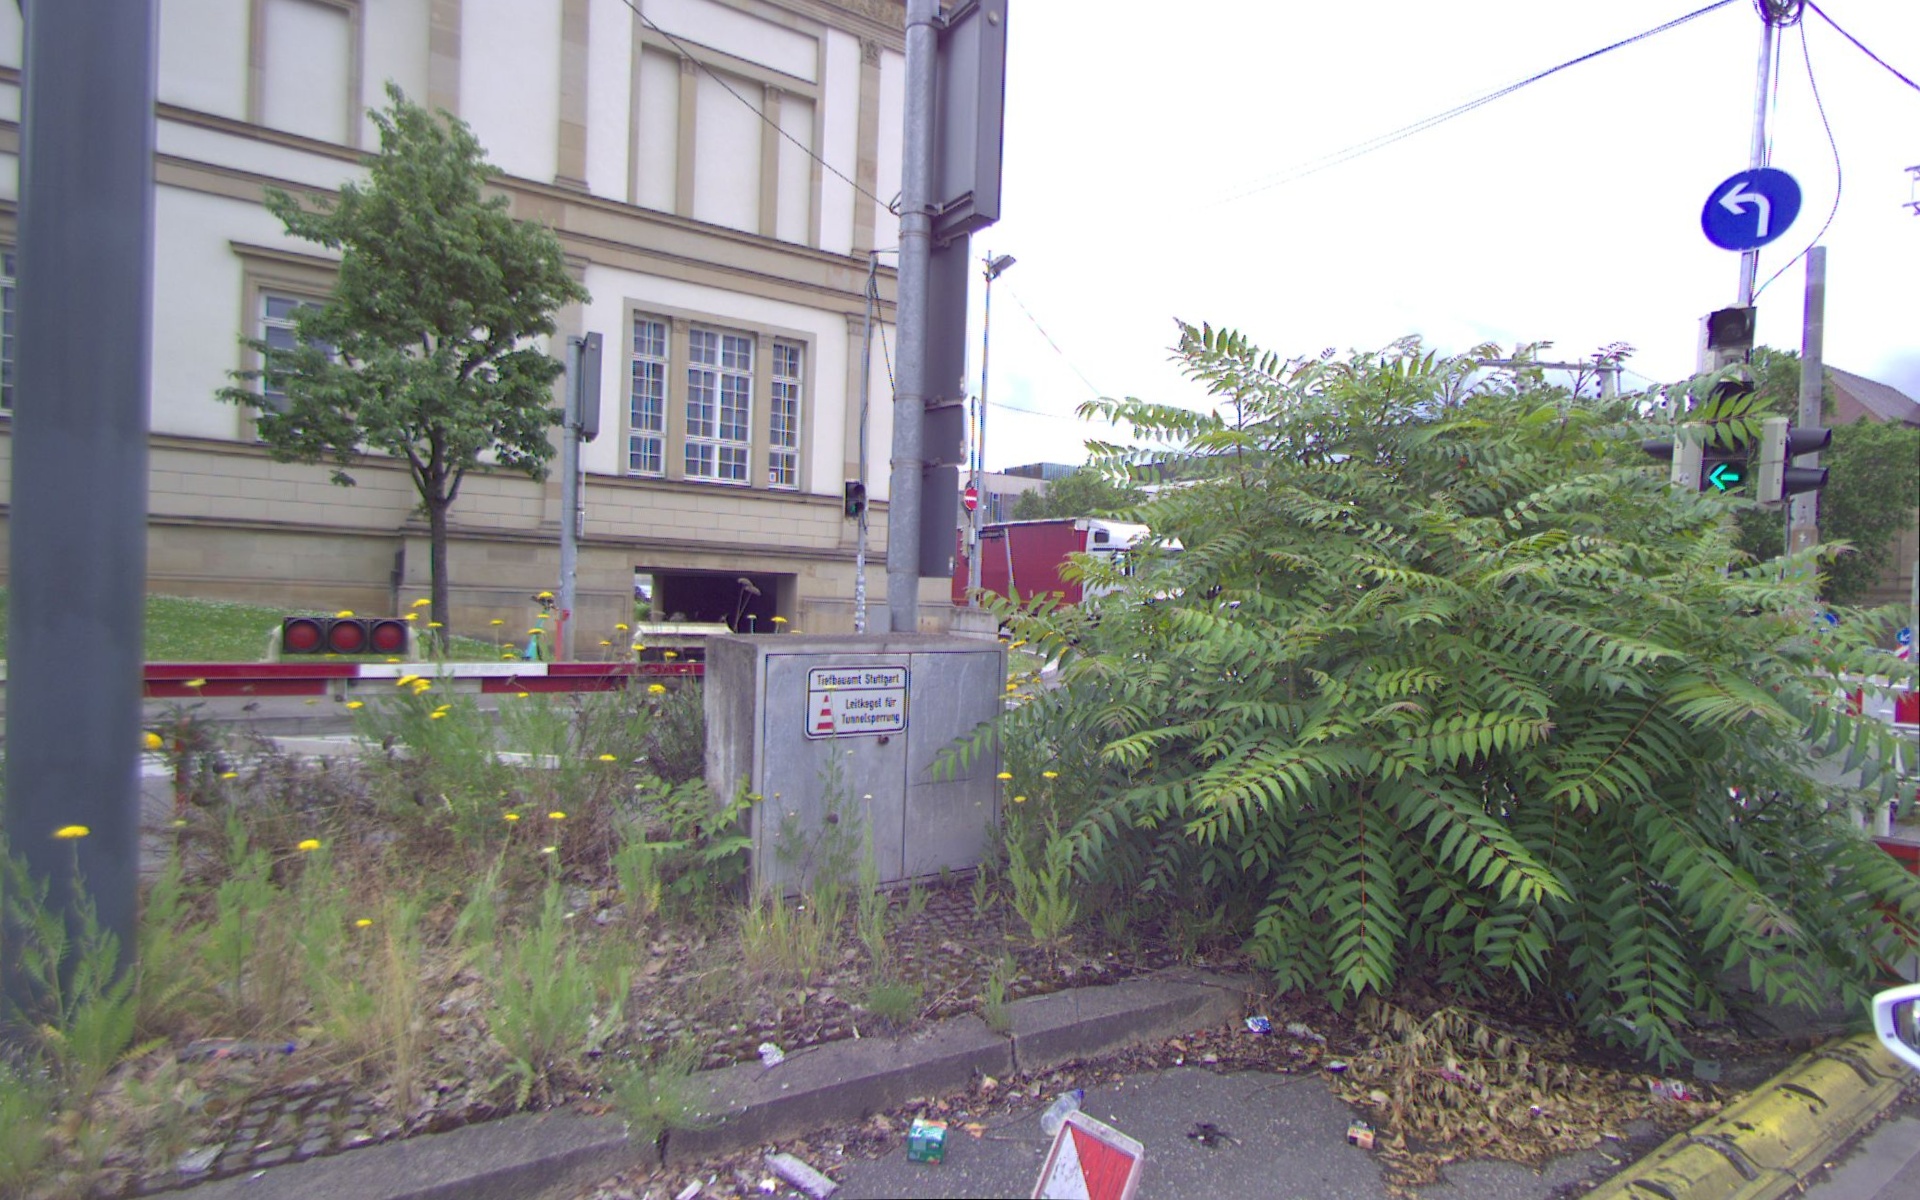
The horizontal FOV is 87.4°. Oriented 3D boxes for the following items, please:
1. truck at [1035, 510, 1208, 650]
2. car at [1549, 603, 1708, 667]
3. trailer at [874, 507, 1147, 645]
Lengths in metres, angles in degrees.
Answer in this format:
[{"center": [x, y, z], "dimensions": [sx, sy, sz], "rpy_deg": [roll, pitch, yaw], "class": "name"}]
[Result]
[{"center": [5.092, -0.576, 32.375], "dimensions": [2.915, 4.117, 4.846], "rpy_deg": [2, 0, -33], "class": "truck"}, {"center": [35.716, 1.821, 53.863], "dimensions": [2.355, 3.092, 6.674], "rpy_deg": [2, -1, -42], "class": "car"}, {"center": [1.271, -0.812, 38.352], "dimensions": [2.916, 4.338, 13.664], "rpy_deg": [2, 0, -33], "class": "trailer"}]
